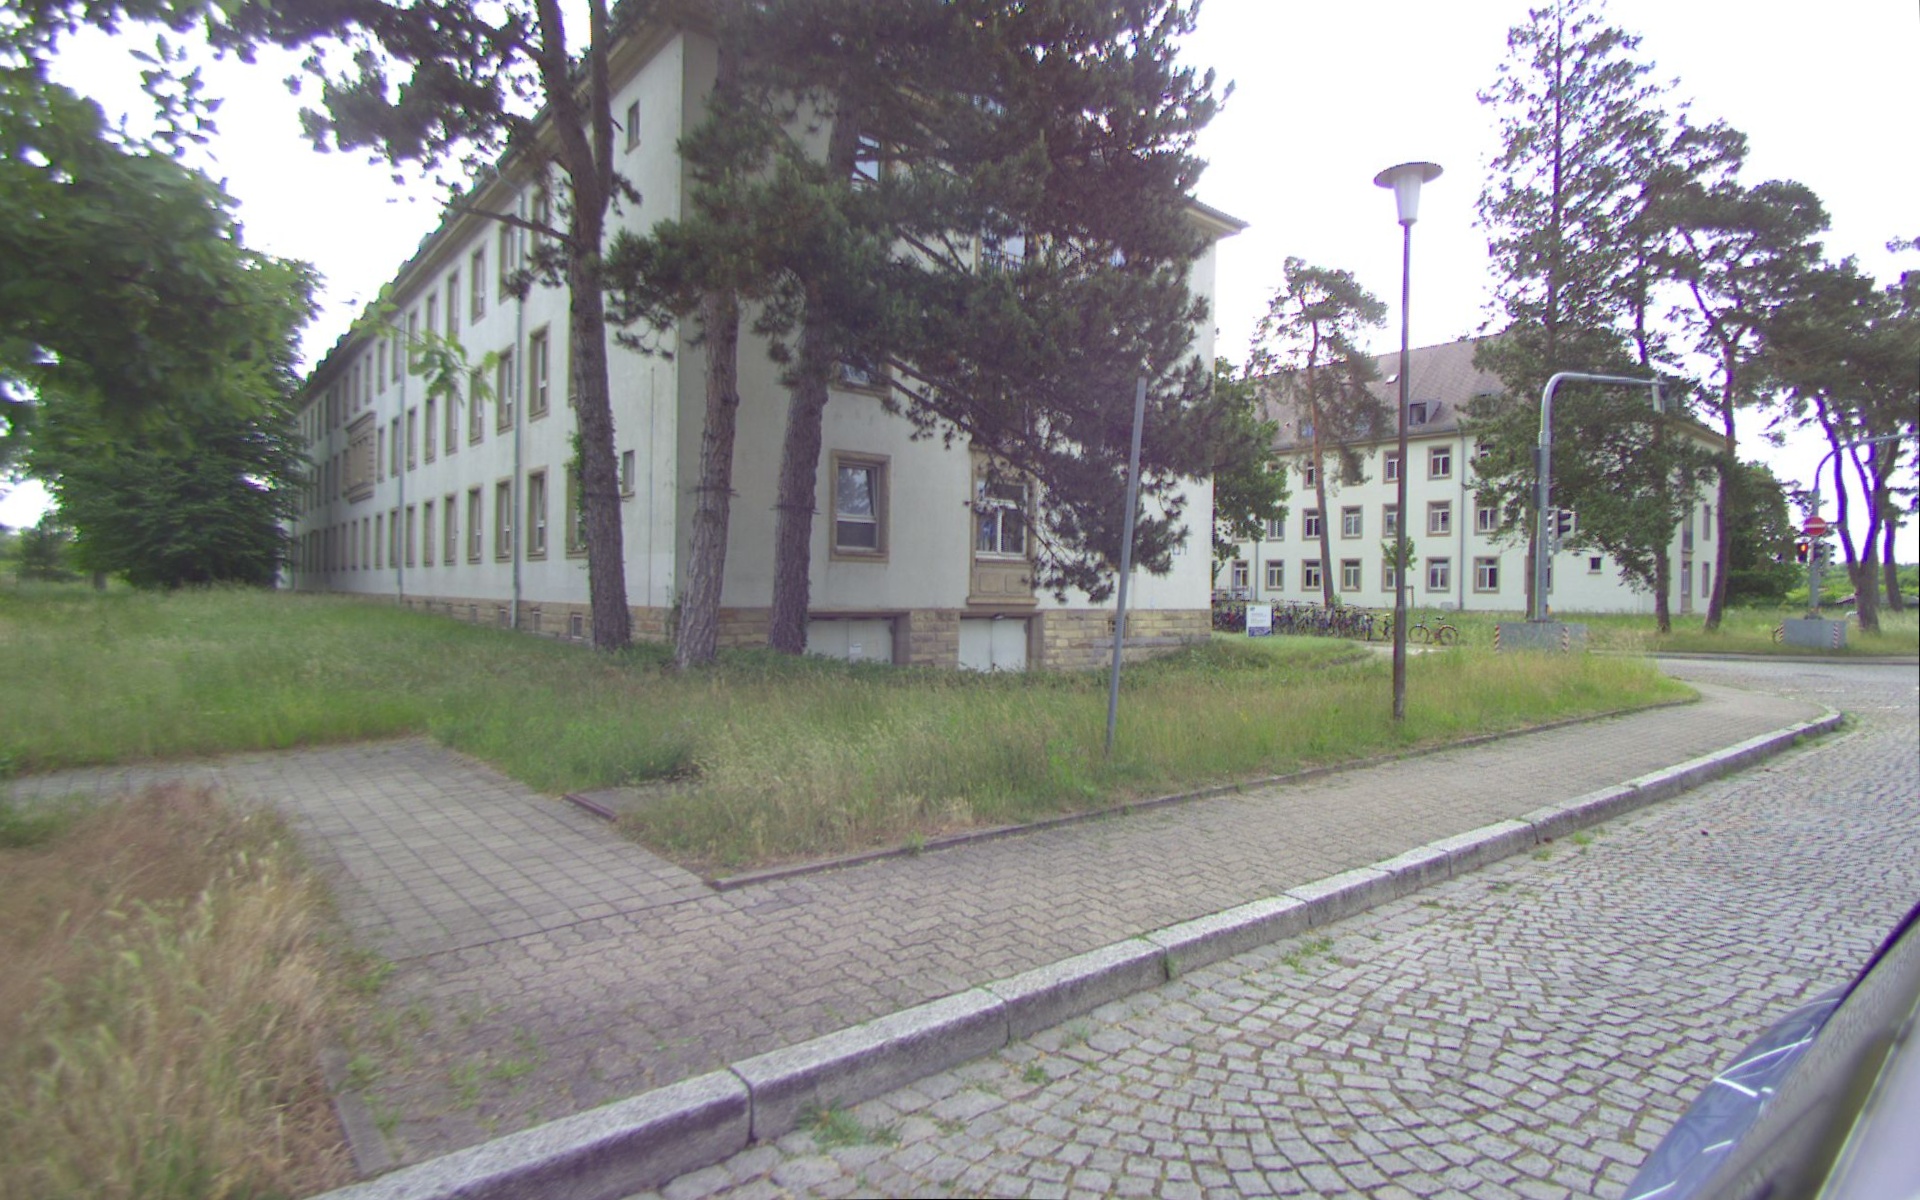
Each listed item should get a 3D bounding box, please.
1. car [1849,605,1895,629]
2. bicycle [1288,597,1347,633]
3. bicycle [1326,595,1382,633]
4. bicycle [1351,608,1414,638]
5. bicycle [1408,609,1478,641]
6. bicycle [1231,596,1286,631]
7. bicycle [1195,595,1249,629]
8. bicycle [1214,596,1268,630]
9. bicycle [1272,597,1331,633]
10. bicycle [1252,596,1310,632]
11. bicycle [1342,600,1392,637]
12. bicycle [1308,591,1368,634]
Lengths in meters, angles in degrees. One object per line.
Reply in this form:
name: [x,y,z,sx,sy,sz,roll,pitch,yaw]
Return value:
car: [61.714,1.126,68.482,3.627,1.553,1.771,1,0,-39]
bicycle: [14.162,0.586,40.028,2.762,1.389,0.949,1,0,-41]
bicycle: [14.954,0.515,38.342,2.581,1.384,0.873,1,0,-41]
bicycle: [14.975,0.813,35.879,0.716,1.009,1.978,1,0,-35]
bicycle: [16.366,0.825,34.319,0.887,1.009,1.976,1,0,-40]
bicycle: [12.259,0.531,41.545,2.531,1.389,0.949,1,0,-41]
bicycle: [11.055,0.518,42.722,2.531,1.389,0.949,1,0,-41]
bicycle: [11.713,0.527,42.182,2.531,1.389,0.949,1,0,-41]
bicycle: [13.576,0.574,40.230,2.762,1.389,0.949,1,0,-41]
bicycle: [12.983,0.569,40.898,2.762,1.389,0.949,1,0,-41]
bicycle: [15.199,0.691,37.750,2.082,1.323,0.873,1,0,-41]
bicycle: [14.660,0.491,39.231,2.762,1.604,0.949,1,0,-41]
